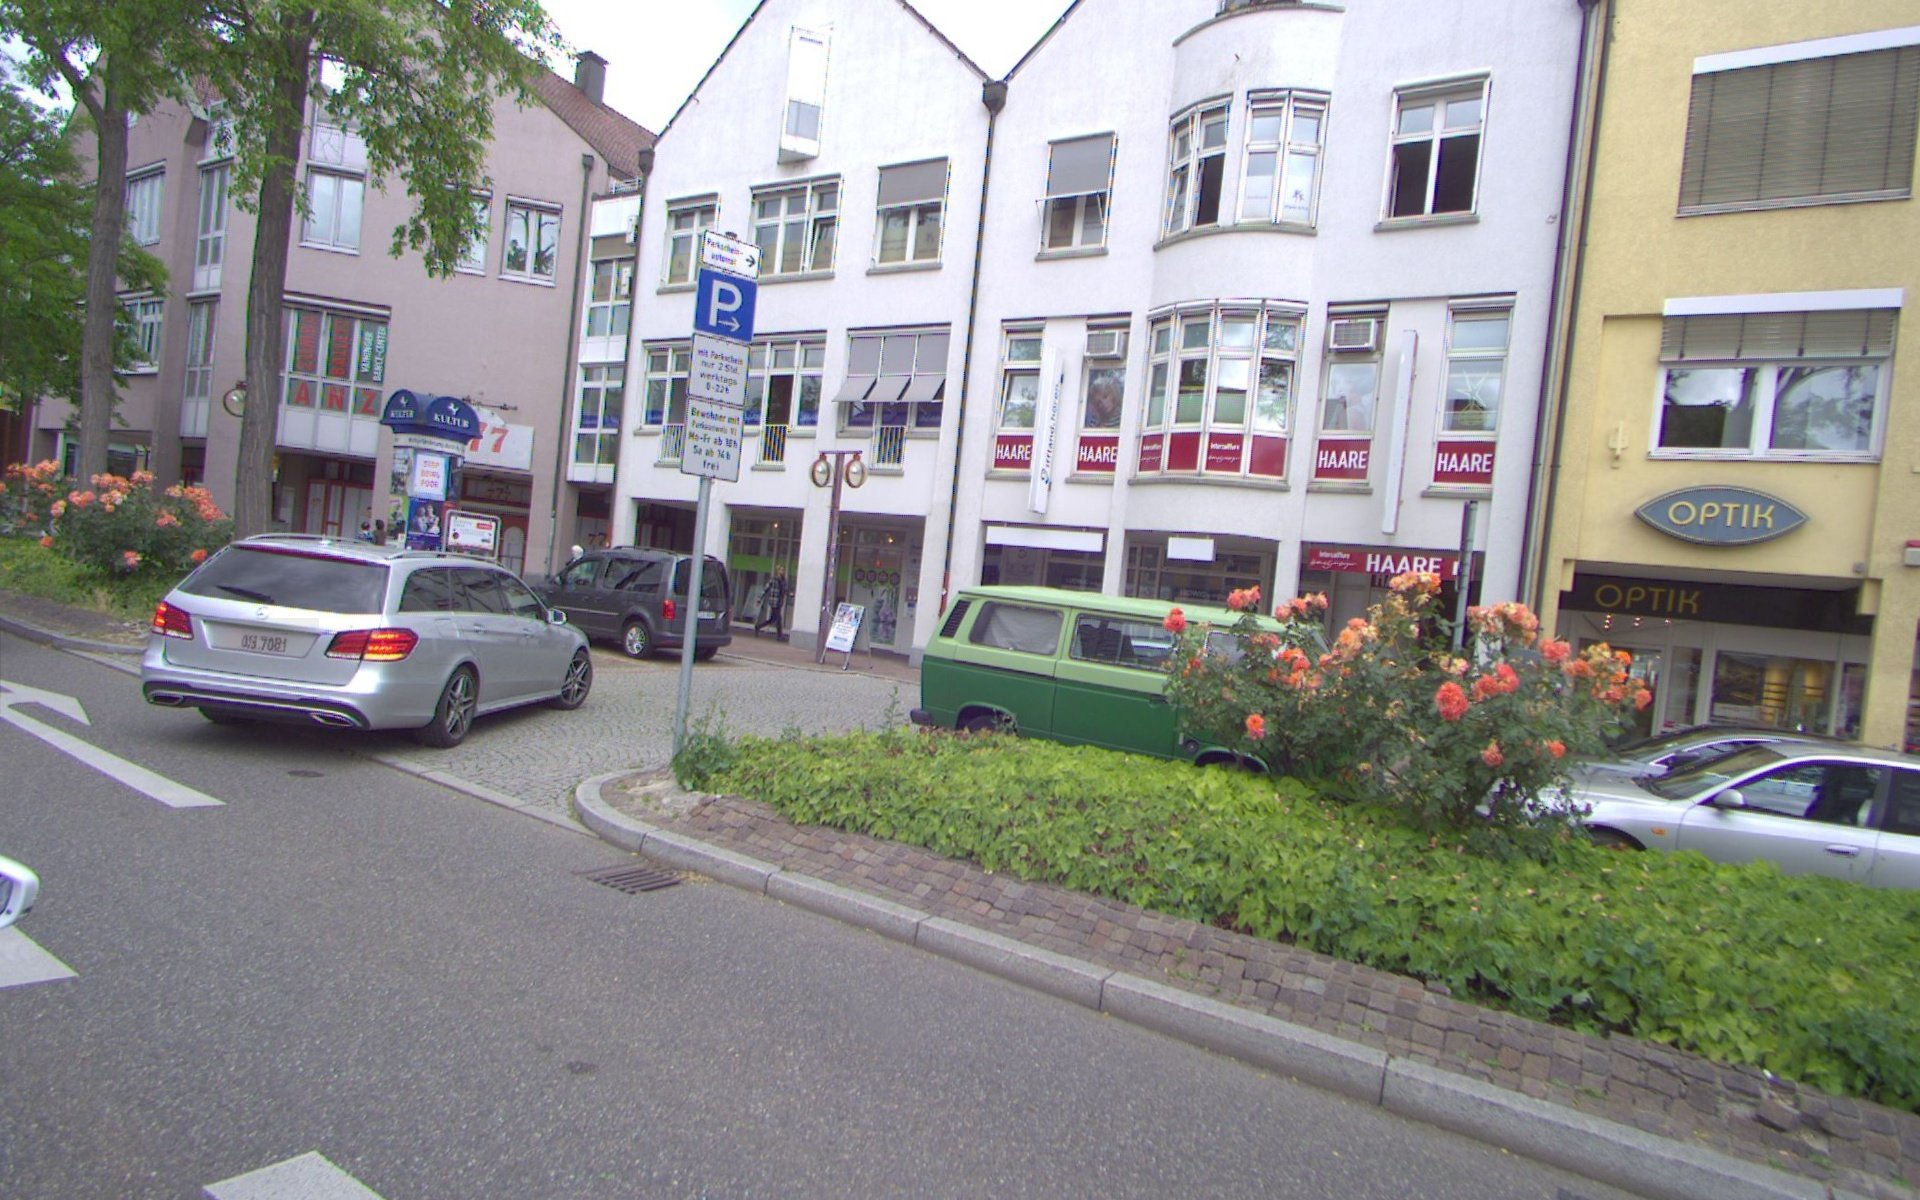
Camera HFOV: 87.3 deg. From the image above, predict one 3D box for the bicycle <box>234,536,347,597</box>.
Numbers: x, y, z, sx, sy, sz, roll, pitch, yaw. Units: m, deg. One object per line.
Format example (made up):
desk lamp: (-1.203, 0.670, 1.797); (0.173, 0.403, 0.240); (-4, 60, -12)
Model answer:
bicycle: (-13.285, -0.645, 20.017); (0.440, 1.009, 1.769); (7, 0, 35)

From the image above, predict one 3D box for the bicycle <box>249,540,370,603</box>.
bicycle: (-12.777, -0.545, 19.815); (0.460, 1.009, 1.901); (7, 0, 35)

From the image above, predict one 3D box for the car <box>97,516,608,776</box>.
car: (-4.747, 0.326, 8.792); (1.788, 1.466, 4.368); (8, -1, -2)

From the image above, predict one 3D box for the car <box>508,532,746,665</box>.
car: (-5.983, -0.049, 18.000); (3.897, 1.855, 1.639); (7, 2, 27)

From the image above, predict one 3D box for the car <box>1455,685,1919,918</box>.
car: (7.477, 1.888, 10.034); (4.344, 1.394, 1.999); (7, 1, 30)

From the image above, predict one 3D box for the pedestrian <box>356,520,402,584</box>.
pedestrian: (-15.363, -1.269, 26.611); (0.610, 1.583, 0.665); (7, 1, 10)

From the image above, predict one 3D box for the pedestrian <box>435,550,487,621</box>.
pedestrian: (-13.628, -0.383, 27.486); (0.805, 1.815, 0.790); (7, 1, 31)

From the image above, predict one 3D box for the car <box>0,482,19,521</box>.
car: (-37.263, -3.896, 36.782); (1.656, 1.406, 3.834); (7, 0, 32)

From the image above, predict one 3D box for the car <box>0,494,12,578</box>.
car: (-10.680, -0.497, 9.510); (3.293, 1.460, 1.590); (7, -2, 32)

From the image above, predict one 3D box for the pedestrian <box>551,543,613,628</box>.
pedestrian: (-7.963, -0.292, 21.190); (0.805, 1.682, 0.789); (7, 3, 31)

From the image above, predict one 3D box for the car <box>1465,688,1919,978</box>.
car: (6.316, 1.724, 7.511); (4.344, 1.468, 1.765); (7, 1, 30)

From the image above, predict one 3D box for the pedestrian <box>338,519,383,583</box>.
pedestrian: (-15.459, -1.251, 25.934); (0.610, 1.534, 0.611); (7, 1, 10)

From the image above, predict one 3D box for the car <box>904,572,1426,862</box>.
car: (1.935, 0.945, 9.935); (4.527, 1.901, 1.882); (7, 2, 30)
